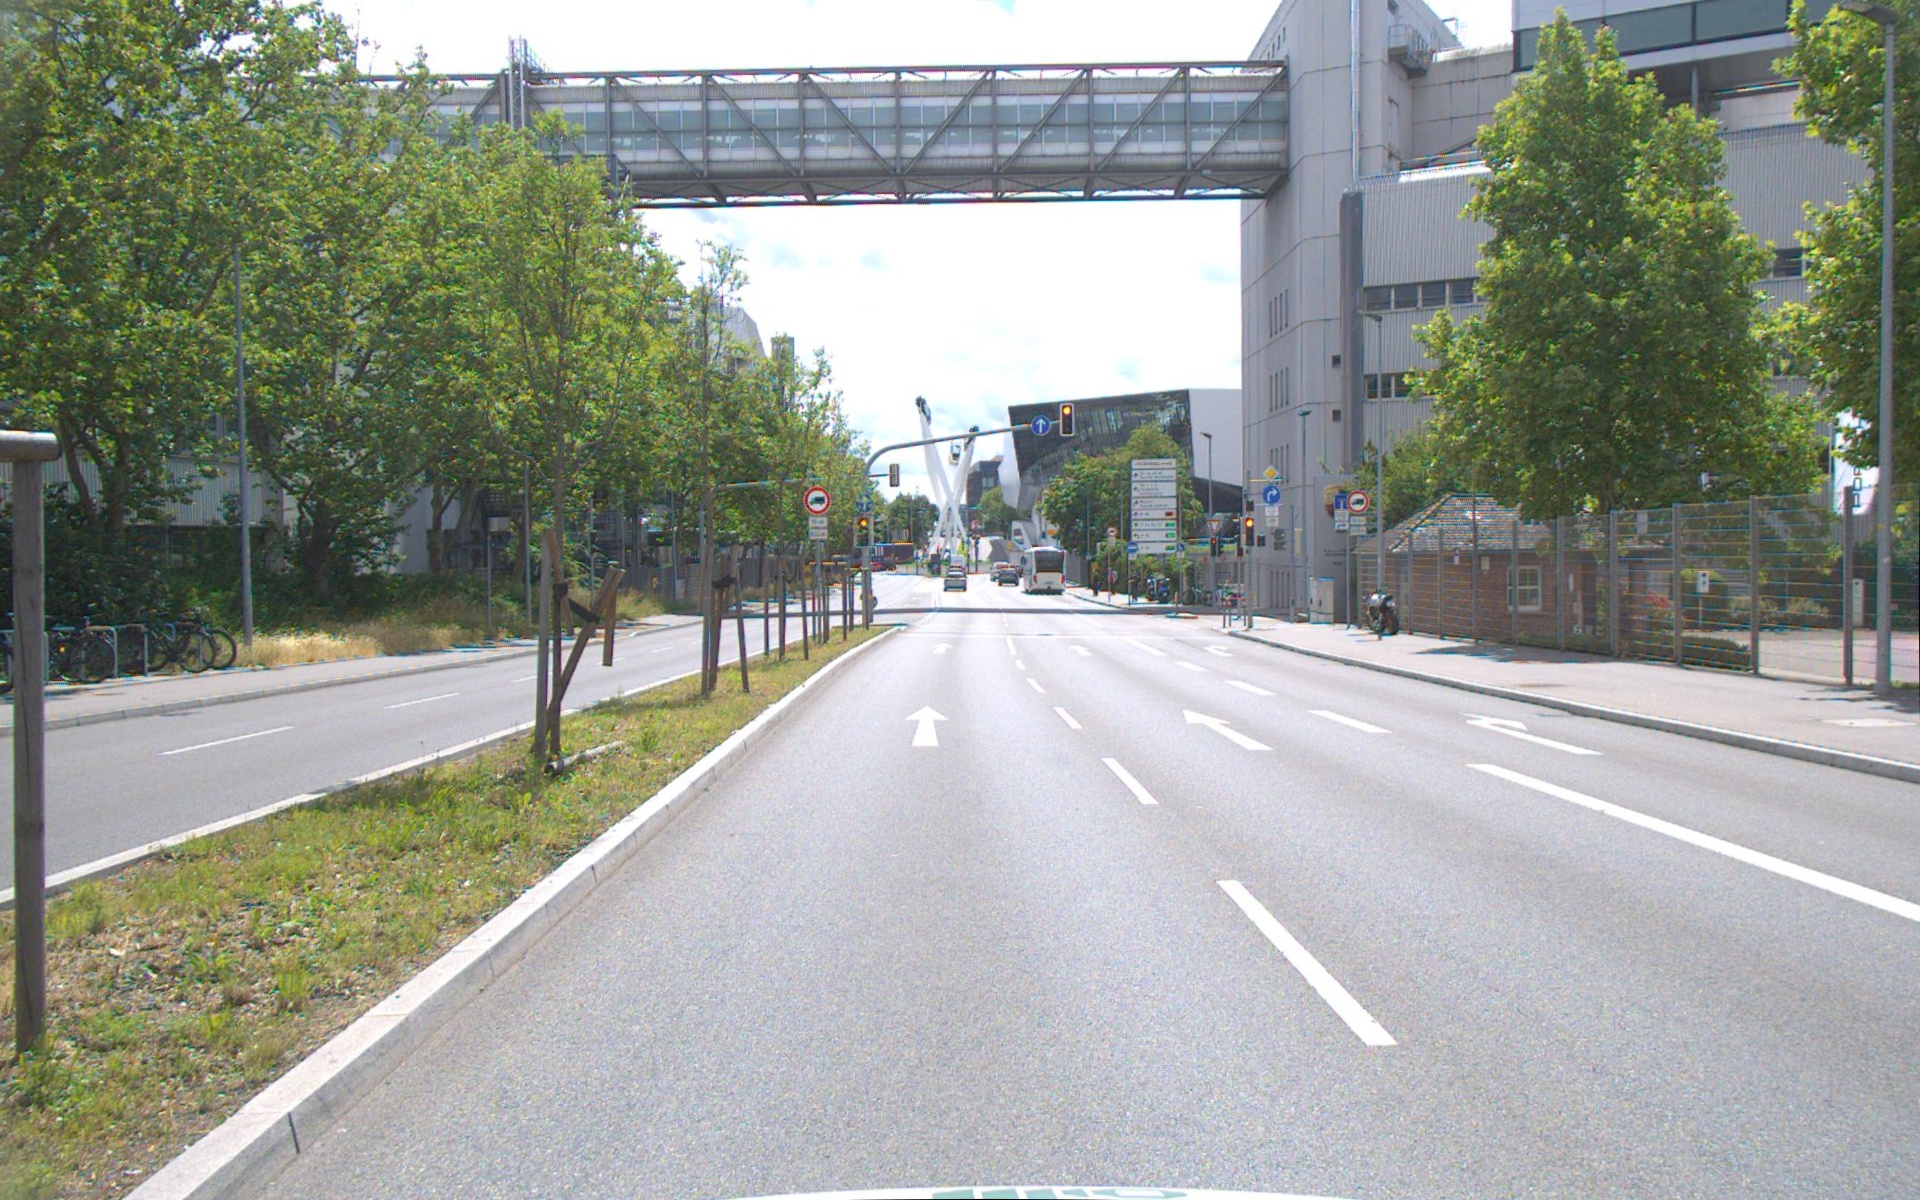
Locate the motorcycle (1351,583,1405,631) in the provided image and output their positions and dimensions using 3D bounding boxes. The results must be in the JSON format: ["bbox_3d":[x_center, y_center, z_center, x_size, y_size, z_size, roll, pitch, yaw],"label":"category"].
[{"bbox_3d":[10.679,0.158,42.357,0.679,1.178,2.146,-2,1,-4],"label":"motorcycle"}]

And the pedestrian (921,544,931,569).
[{"bbox_3d":[-5.030,-6.365,243.409,1.387,3.663,1.283,0,0,-1],"label":"pedestrian"}]

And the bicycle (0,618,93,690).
[{"bbox_3d":[-14.428,0.792,24.362,2.783,1.024,0.849,0,0,-10],"label":"bicycle"}]

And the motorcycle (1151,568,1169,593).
[{"bbox_3d":[10.386,-1.028,86.063,0.692,1.224,2.024,-2,1,1],"label":"motorcycle"}]

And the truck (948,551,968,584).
[{"bbox_3d":[-0.203,-3.940,202.511,2.343,3.965,6.178,0,1,0],"label":"truck"}]

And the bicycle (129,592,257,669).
[{"bbox_3d":[-14.019,0.544,30.257,2.122,1.387,0.490,0,0,1],"label":"bicycle"}]

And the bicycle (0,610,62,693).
[{"bbox_3d":[-13.877,0.724,23.402,1.879,1.142,0.806,0,0,-2],"label":"bicycle"}]

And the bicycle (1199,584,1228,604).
[{"bbox_3d":[12.299,-0.285,80.180,0.392,0.953,1.913,0,1,-25],"label":"bicycle"}]

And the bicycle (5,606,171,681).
[{"bbox_3d":[-14.248,0.695,27.037,2.510,1.177,0.644,0,0,9],"label":"bicycle"}]

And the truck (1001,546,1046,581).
[{"bbox_3d":[8.243,-4.684,213.141,3.380,4.468,9.425,0,1,18],"label":"truck"}]

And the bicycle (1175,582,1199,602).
[{"bbox_3d":[11.317,-0.398,82.475,0.391,0.953,1.918,0,1,-18],"label":"bicycle"}]

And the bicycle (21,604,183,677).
[{"bbox_3d":[-14.603,0.679,28.168,2.510,1.177,0.726,0,0,9],"label":"bicycle"}]

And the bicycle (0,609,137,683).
[{"bbox_3d":[-14.427,0.735,26.244,2.510,1.115,0.696,-1,0,9],"label":"bicycle"}]

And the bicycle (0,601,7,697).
[{"bbox_3d":[-14.085,0.671,22.378,1.879,1.305,0.806,0,0,-2],"label":"bicycle"}]

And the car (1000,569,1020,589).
[{"bbox_3d":[4.605,-1.931,152.284,1.702,1.772,3.692,0,1,0],"label":"car"}]

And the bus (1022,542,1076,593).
[{"bbox_3d":[6.617,-2.406,124.307,3.382,3.605,10.605,0,1,-1],"label":"bus"}]

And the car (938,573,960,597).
[{"bbox_3d":[-0.861,-1.181,129.562,1.702,1.772,3.692,0,1,0],"label":"car"}]

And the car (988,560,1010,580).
[{"bbox_3d":[4.192,-3.273,179.537,1.954,2.049,3.996,1,-1,-4],"label":"car"}]

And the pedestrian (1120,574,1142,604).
[{"bbox_3d":[9.574,-0.637,92.413,0.835,1.653,0.951,1,1,41],"label":"pedestrian"}]

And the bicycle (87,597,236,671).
[{"bbox_3d":[-14.007,0.596,29.036,2.354,1.280,0.556,0,0,1],"label":"bicycle"}]
